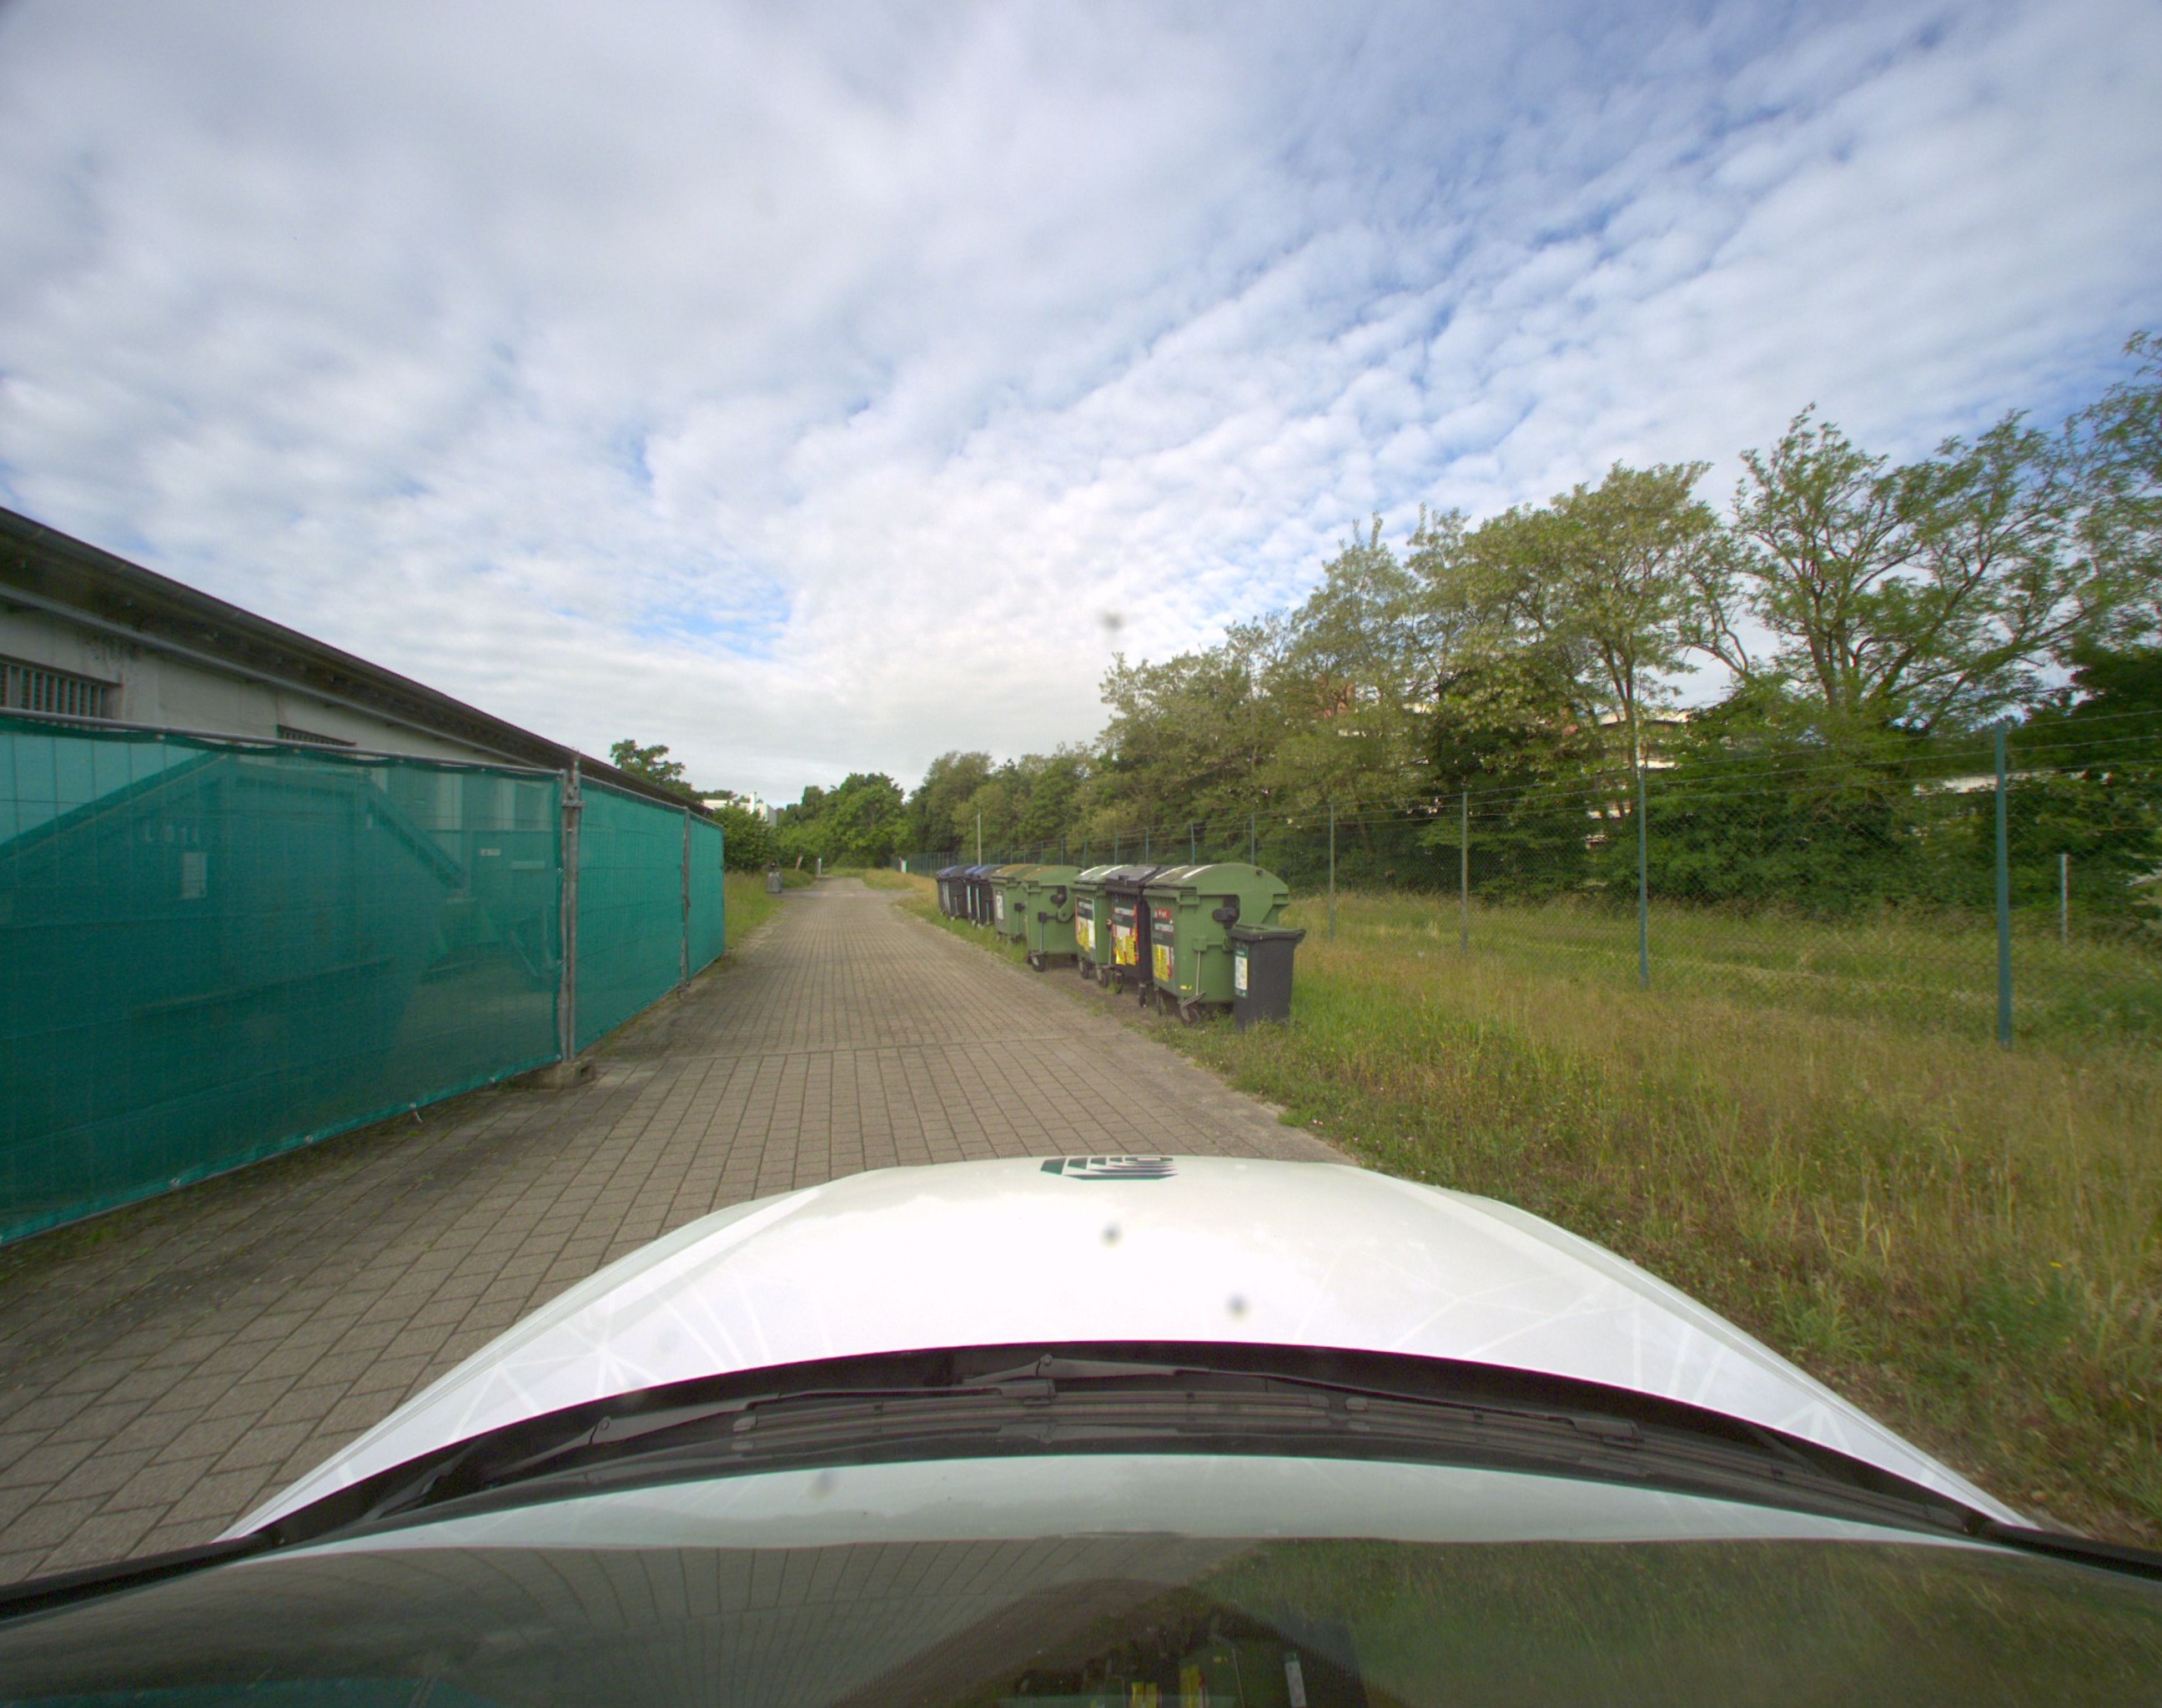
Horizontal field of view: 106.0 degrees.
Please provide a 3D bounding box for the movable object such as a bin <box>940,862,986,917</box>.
[{"bbox_3d":[-3.107,0.917,21.388,1.123,1.379,1.320,1,-2,-12],"label":"movable object such as a bin"}]

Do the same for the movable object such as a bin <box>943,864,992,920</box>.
[{"bbox_3d":[-2.814,0.905,20.124,1.123,1.321,1.320,0,-1,-11],"label":"movable object such as a bin"}]

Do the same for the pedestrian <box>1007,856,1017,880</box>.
[{"bbox_3d":[-5.740,1.141,67.822,0.761,2.014,0.660,0,-1,-18],"label":"pedestrian"}]

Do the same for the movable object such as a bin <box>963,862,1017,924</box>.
[{"bbox_3d":[-2.122,0.884,18.774,1.123,1.374,1.487,1,-2,-11],"label":"movable object such as a bin"}]

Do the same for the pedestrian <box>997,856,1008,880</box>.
[{"bbox_3d":[-6.508,1.165,67.576,0.761,2.014,0.660,0,-1,-18],"label":"pedestrian"}]

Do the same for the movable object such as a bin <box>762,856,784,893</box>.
[{"bbox_3d":[-16.876,1.133,44.636,0.934,1.982,0.851,0,-1,-7],"label":"movable object such as a bin"}]

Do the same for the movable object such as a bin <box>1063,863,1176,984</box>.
[{"bbox_3d":[0.453,0.826,10.237,1.071,1.406,1.378,1,-2,-14],"label":"movable object such as a bin"}]

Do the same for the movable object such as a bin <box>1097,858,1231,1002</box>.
[{"bbox_3d":[0.873,0.783,8.981,1.071,1.435,1.391,1,-2,-14],"label":"movable object such as a bin"}]

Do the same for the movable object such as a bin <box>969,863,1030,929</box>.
[{"bbox_3d":[-1.747,0.869,17.244,1.155,1.325,1.487,1,-2,-11],"label":"movable object such as a bin"}]

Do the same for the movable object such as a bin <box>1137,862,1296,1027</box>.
[{"bbox_3d":[1.217,0.787,7.675,1.128,1.396,1.352,1,-2,-8],"label":"movable object such as a bin"}]

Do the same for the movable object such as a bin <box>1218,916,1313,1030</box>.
[{"bbox_3d":[1.513,0.961,6.750,0.599,0.866,0.584,1,-2,-9],"label":"movable object such as a bin"}]

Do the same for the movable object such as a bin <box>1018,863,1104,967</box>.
[{"bbox_3d":[-0.314,0.839,11.650,1.121,1.398,1.382,0,-2,-6],"label":"movable object such as a bin"}]

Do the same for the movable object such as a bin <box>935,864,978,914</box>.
[{"bbox_3d":[-3.499,0.959,22.753,1.123,1.351,1.420,1,-2,-11],"label":"movable object such as a bin"}]

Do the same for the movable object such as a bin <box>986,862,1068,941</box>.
[{"bbox_3d":[-0.968,0.796,14.149,1.126,1.296,1.371,1,-2,-18],"label":"movable object such as a bin"}]
